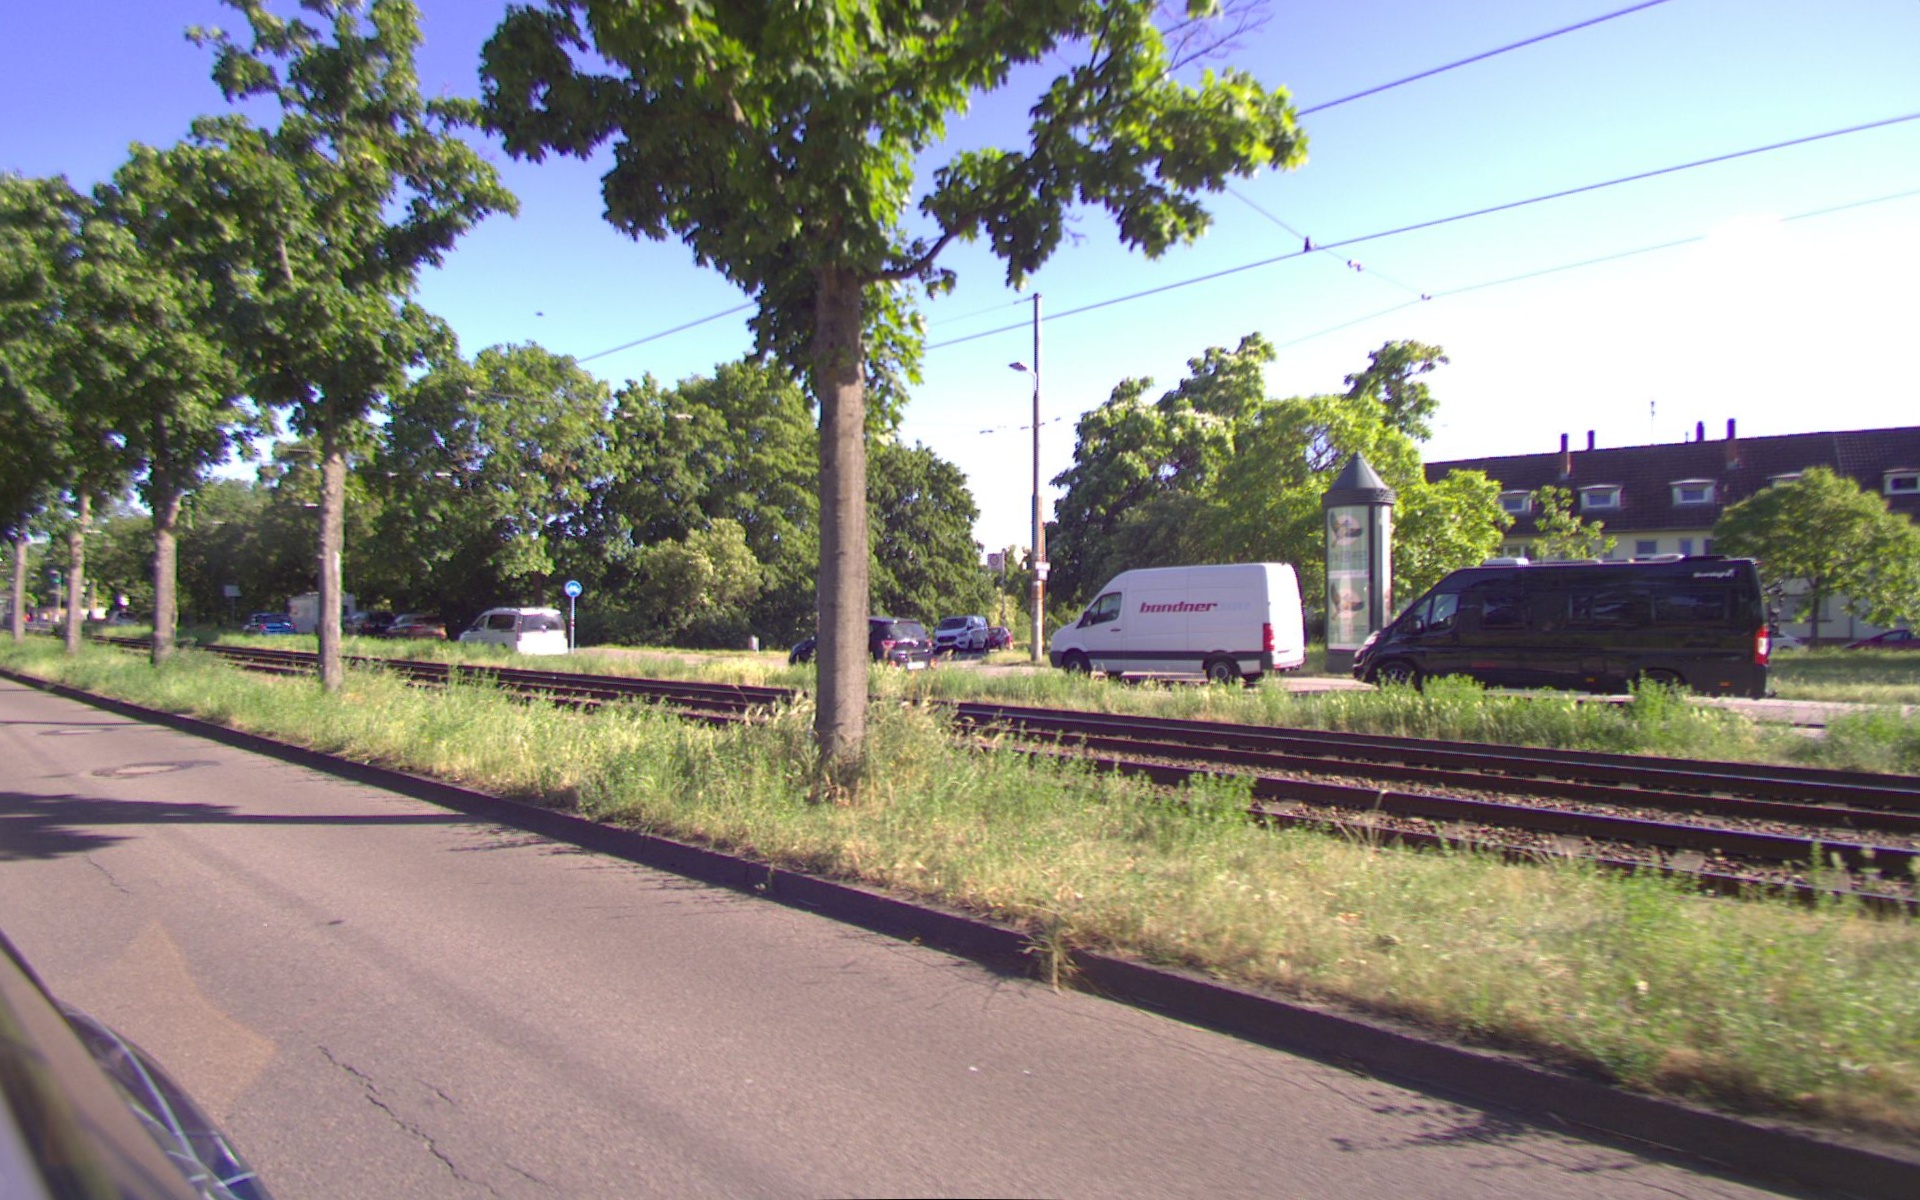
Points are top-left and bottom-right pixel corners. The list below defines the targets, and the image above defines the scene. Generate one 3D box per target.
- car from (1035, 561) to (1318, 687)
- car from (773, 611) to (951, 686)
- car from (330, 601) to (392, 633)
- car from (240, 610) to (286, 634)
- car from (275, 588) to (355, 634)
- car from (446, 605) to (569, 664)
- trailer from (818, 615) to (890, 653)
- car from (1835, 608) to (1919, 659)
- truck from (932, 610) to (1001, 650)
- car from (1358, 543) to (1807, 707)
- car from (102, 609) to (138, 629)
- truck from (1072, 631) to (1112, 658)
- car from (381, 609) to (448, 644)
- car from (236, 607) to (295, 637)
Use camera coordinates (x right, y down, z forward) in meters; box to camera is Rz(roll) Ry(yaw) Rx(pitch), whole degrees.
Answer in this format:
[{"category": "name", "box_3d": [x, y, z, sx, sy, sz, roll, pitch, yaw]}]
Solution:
[{"category": "car", "box_3d": [4.772, 0.462, 23.099, 6.133, 2.515, 1.981, 0, 1, 40]}, {"category": "car", "box_3d": [-2.241, 1.020, 22.635, 3.750, 1.543, 1.972, -1, -1, 42]}, {"category": "car", "box_3d": [-33.116, 0.901, 55.908, 4.530, 1.635, 1.606, 0, 1, 41]}, {"category": "car", "box_3d": [-47.704, 1.473, 69.248, 4.282, 1.575, 1.748, 0, 0, 43]}, {"category": "car", "box_3d": [-38.743, 0.662, 60.732, 6.795, 2.600, 2.202, -1, 0, 41]}, {"category": "car", "box_3d": [-15.044, 1.061, 33.519, 4.979, 1.757, 1.792, 0, 1, 41]}, {"category": "trailer", "box_3d": [-4.714, 1.498, 45.501, 1.741, 1.515, 3.734, 0, 1, 21]}, {"category": "car", "box_3d": [39.490, 1.402, 42.547, 3.996, 2.029, 1.974, 0, 1, 39]}, {"category": "truck", "box_3d": [0.395, 1.539, 53.839, 2.069, 1.883, 4.908, 0, 1, 21]}, {"category": "car", "box_3d": [10.608, 0.349, 17.716, 6.461, 2.394, 2.160, 0, 1, 41]}, {"category": "car", "box_3d": [-72.036, 1.618, 86.734, 4.441, 1.539, 1.709, 0, 1, 42]}, {"category": "truck", "box_3d": [9.517, 3.183, 72.748, 1.874, 1.686, 3.866, 0, 1, 22]}, {"category": "car", "box_3d": [-27.569, 1.295, 51.091, 4.248, 1.596, 1.656, 0, 1, 43]}, {"category": "car", "box_3d": [-35.219, 1.111, 51.277, 3.818, 1.405, 1.541, 0, 1, 41]}]
